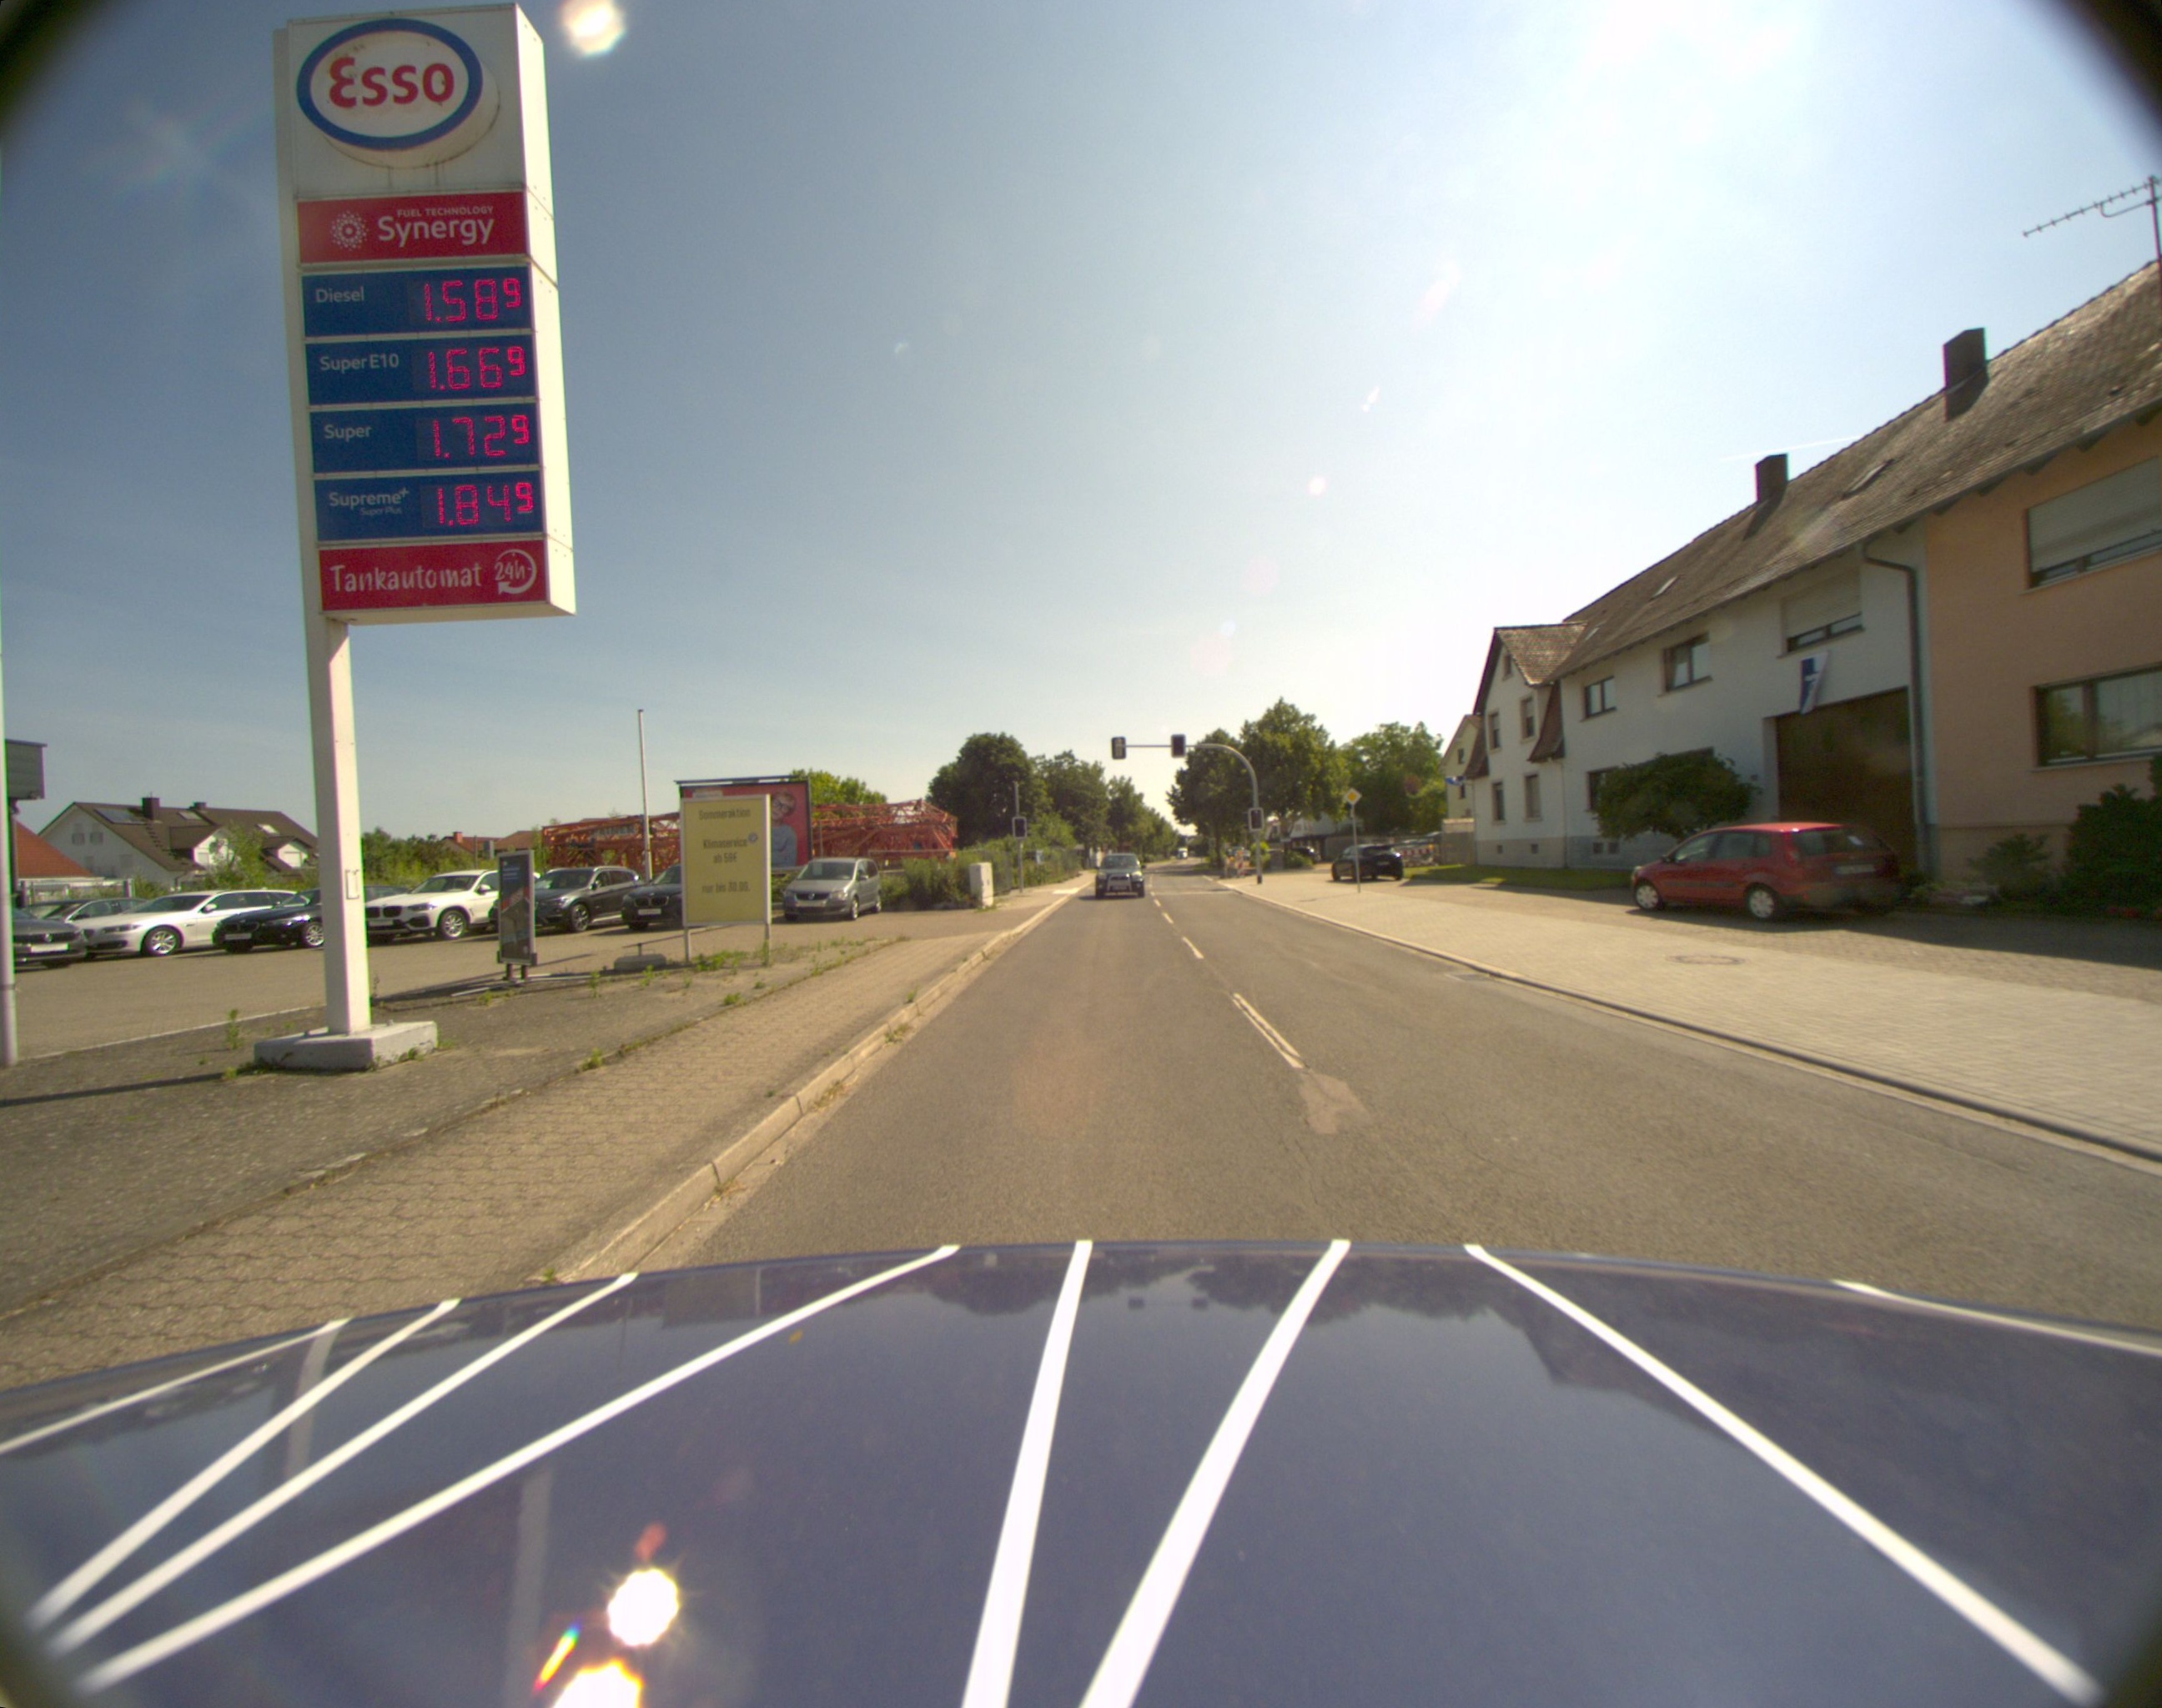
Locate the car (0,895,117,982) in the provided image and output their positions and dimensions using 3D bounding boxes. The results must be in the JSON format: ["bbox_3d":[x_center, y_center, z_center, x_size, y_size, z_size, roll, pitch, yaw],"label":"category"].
[{"bbox_3d":[-21.453,1.644,14.460,3.688,1.465,1.811,-2,1,-3],"label":"car"}]

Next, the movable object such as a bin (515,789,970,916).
[{"bbox_3d":[-12.569,-0.043,29.110,16.092,3.995,2.773,-2,1,1],"label":"movable object such as a bin"}]

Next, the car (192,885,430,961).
[{"bbox_3d":[-18.392,1.575,18.471,1.846,1.379,3.998,-2,1,-5],"label":"car"}]

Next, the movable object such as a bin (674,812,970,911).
[{"bbox_3d":[-12.386,0.337,37.131,13.286,4.141,2.863,-2,1,1],"label":"movable object such as a bin"}]

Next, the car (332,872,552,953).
[{"bbox_3d":[-15.683,1.350,19.040,2.004,1.583,4.336,-2,1,-5],"label":"car"}]

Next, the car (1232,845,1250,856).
[{"bbox_3d":[21.578,-0.469,102.772,1.997,1.496,4.002,-2,0,7],"label":"car"}]

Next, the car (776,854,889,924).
[{"bbox_3d":[-6.641,0.896,20.789,1.809,1.676,4.368,-1,-1,-3],"label":"car"}]

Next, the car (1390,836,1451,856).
[{"bbox_3d":[27.536,-0.634,61.683,3.996,1.496,2.000,-2,0,3],"label":"car"}]

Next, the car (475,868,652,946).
[{"bbox_3d":[-12.874,1.233,19.269,1.846,1.583,4.103,-2,1,-5],"label":"car"}]

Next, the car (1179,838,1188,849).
[{"bbox_3d":[24.228,-2.594,179.593,1.937,2.488,5.841,-2,1,8],"label":"car"}]

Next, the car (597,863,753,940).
[{"bbox_3d":[-10.044,1.093,19.210,1.975,1.583,3.998,-2,1,-5],"label":"car"}]

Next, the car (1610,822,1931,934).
[{"bbox_3d":[10.860,0.358,12.428,1.718,1.444,3.916,-4,-1,3],"label":"car"}]

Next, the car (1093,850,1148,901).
[{"bbox_3d":[1.526,0.798,28.975,1.848,1.686,4.400,-3,-1,3],"label":"car"}]

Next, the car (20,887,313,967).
[{"bbox_3d":[-21.367,1.635,18.120,1.846,1.379,4.374,-2,1,-5],"label":"car"}]

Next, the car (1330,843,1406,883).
[{"bbox_3d":[11.411,0.315,30.518,1.718,1.399,4.398,-1,1,5],"label":"car"}]

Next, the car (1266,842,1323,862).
[{"bbox_3d":[17.556,-0.156,62.537,3.989,1.496,2.004,-2,0,36],"label":"car"}]

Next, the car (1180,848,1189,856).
[{"bbox_3d":[22.411,-0.409,164.657,1.845,1.583,4.108,-2,1,8],"label":"car"}]

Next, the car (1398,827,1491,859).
[{"bbox_3d":[25.666,-0.767,53.787,5.623,2.033,2.000,-2,0,2],"label":"car"}]
